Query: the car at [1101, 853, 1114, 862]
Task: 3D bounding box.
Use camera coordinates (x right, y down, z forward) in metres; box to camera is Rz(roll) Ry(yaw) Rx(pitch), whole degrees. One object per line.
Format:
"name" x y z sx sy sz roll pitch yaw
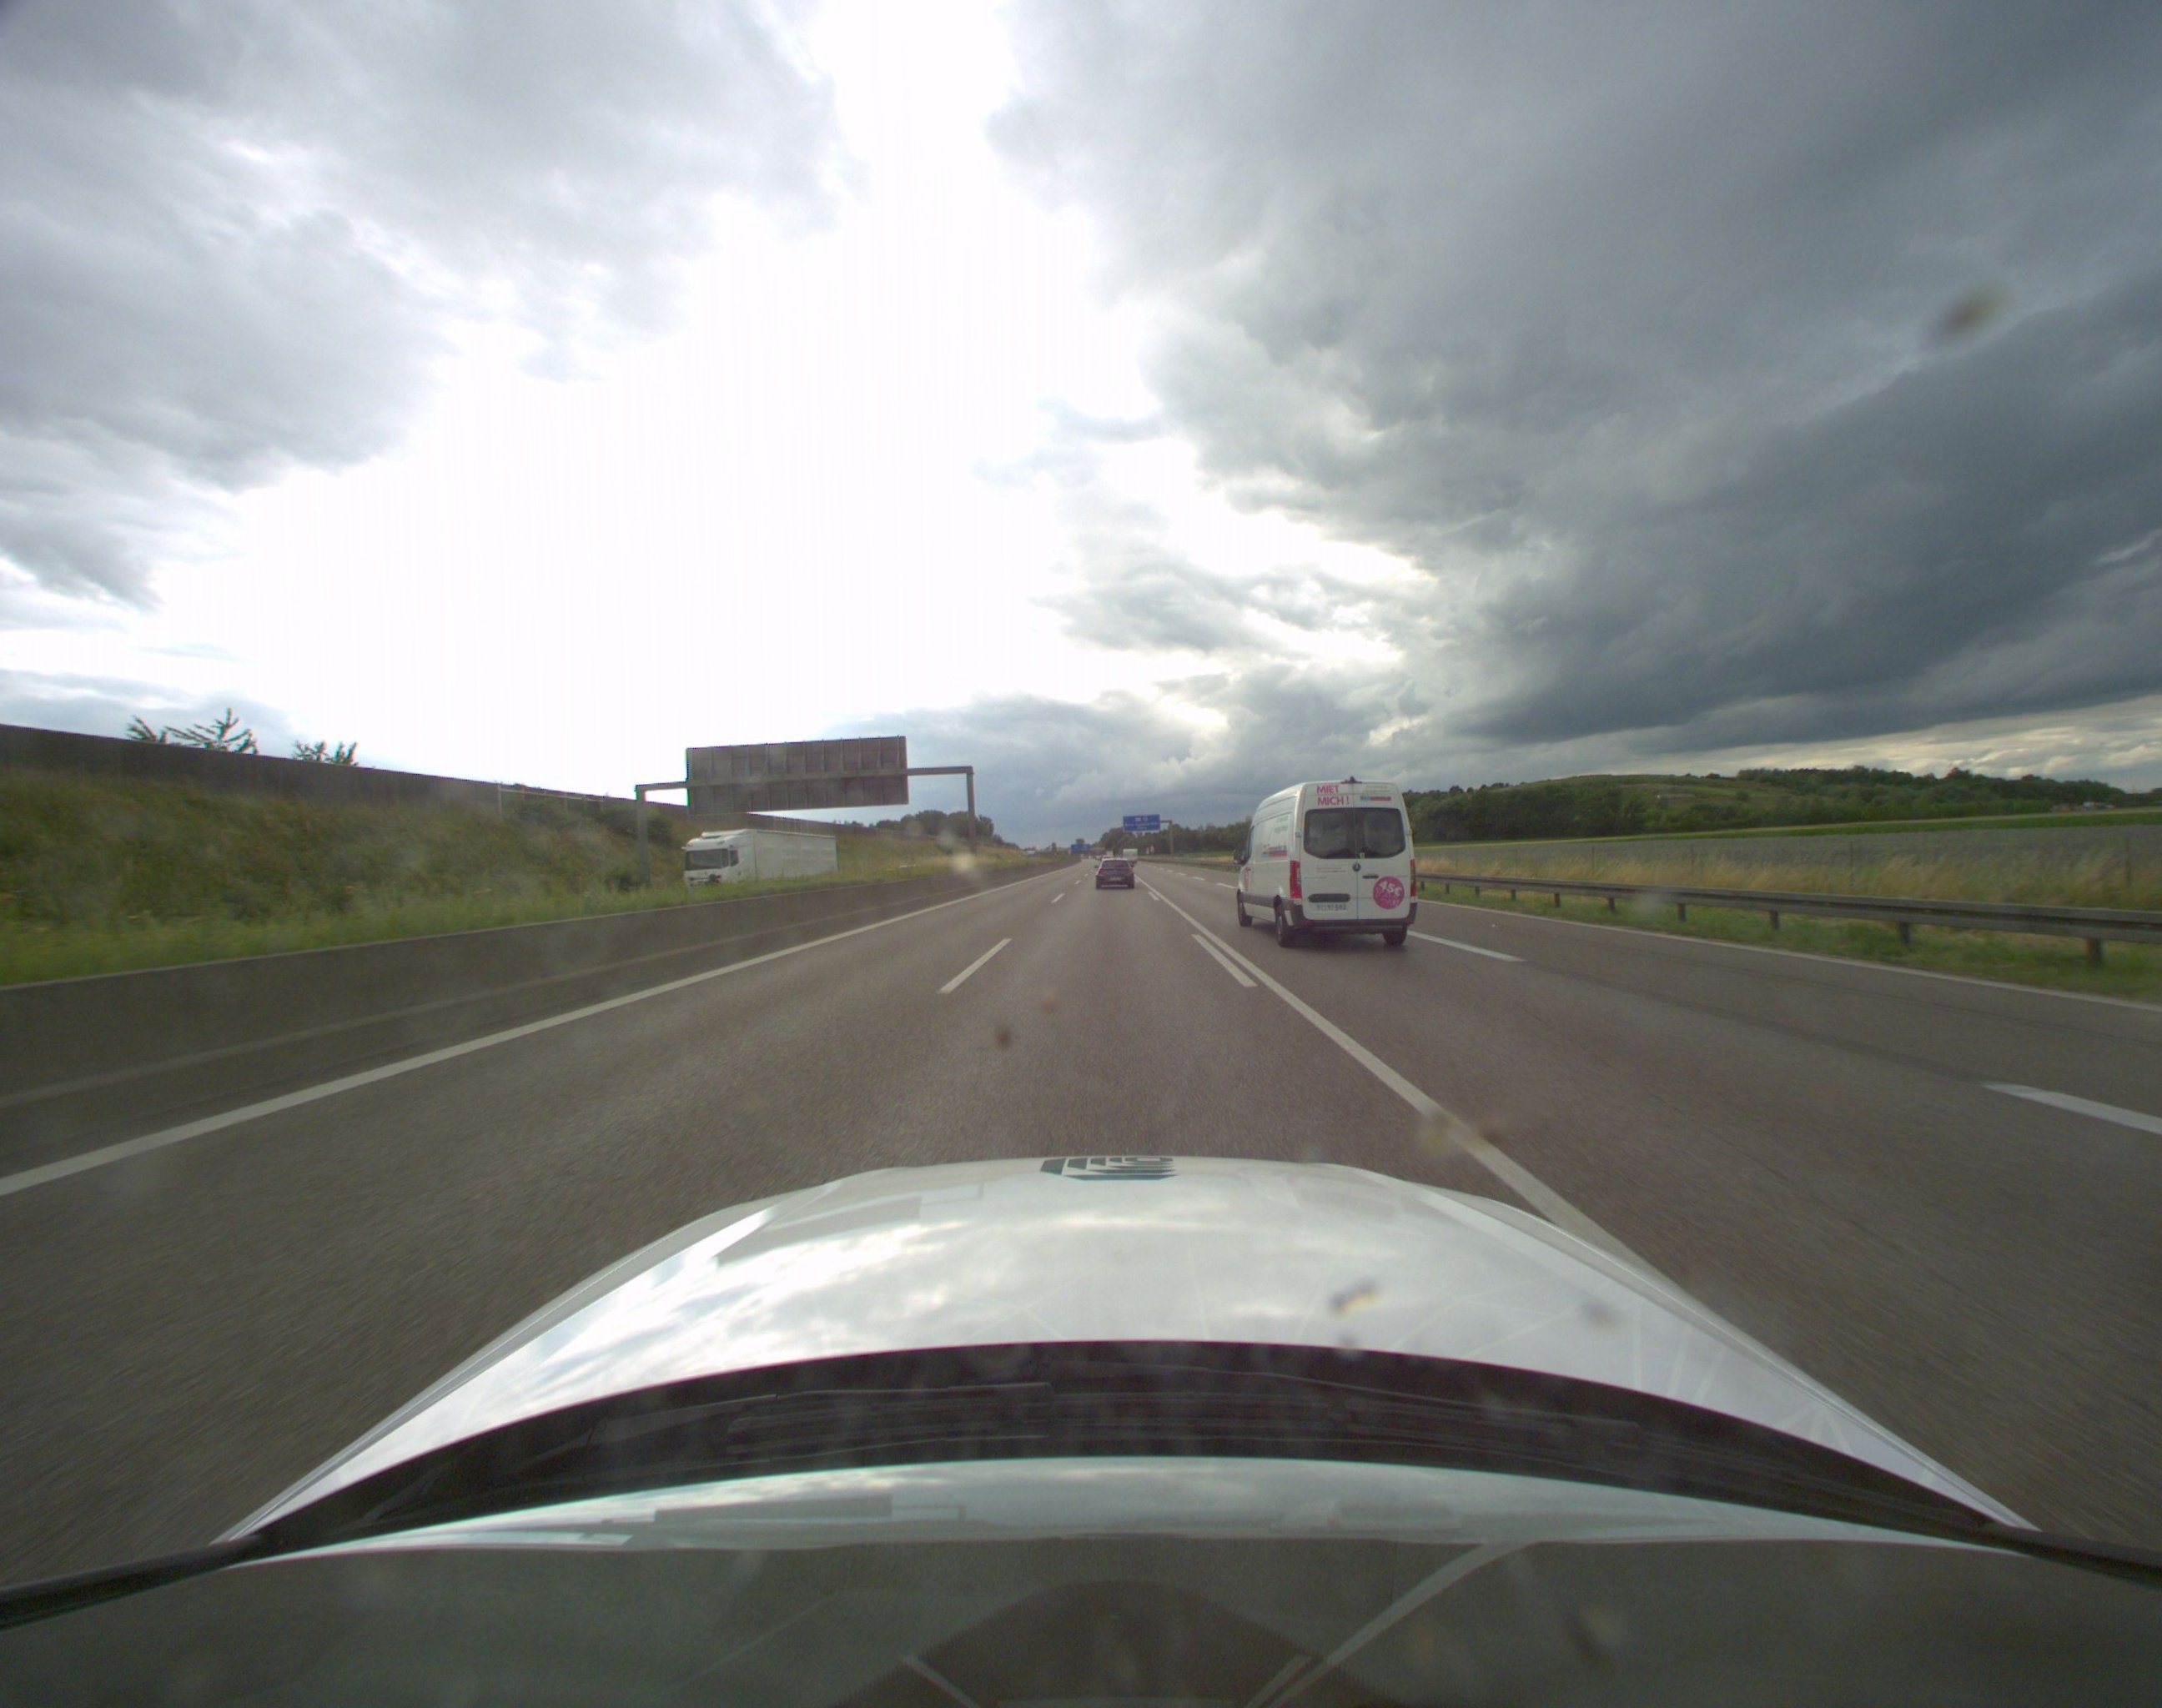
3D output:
"car" 4.256 0.526 130.833 1.986 1.298 4.001 -3 0 1

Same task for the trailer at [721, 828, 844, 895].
"trailer" -18.692 0.405 52.305 2.766 3.677 12.270 -3 0 2

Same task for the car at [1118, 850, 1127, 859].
"car" 9.550 0.087 188.213 1.986 2.013 4.001 -3 0 2

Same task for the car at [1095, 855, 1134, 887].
"car" 1.570 0.758 38.203 1.736 1.389 4.002 -1 0 2

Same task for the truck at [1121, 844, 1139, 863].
"truck" 8.370 -0.065 139.634 2.700 2.964 12.452 -1 0 2

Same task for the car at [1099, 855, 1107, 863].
"car" 6.090 1.457 224.205 1.986 2.013 4.001 -3 0 2

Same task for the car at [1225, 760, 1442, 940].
"car" 4.248 -0.067 15.047 2.212 2.568 6.259 -2 0 2

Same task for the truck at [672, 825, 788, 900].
"truck" -18.982 0.419 44.654 2.716 3.677 7.493 -3 0 2
